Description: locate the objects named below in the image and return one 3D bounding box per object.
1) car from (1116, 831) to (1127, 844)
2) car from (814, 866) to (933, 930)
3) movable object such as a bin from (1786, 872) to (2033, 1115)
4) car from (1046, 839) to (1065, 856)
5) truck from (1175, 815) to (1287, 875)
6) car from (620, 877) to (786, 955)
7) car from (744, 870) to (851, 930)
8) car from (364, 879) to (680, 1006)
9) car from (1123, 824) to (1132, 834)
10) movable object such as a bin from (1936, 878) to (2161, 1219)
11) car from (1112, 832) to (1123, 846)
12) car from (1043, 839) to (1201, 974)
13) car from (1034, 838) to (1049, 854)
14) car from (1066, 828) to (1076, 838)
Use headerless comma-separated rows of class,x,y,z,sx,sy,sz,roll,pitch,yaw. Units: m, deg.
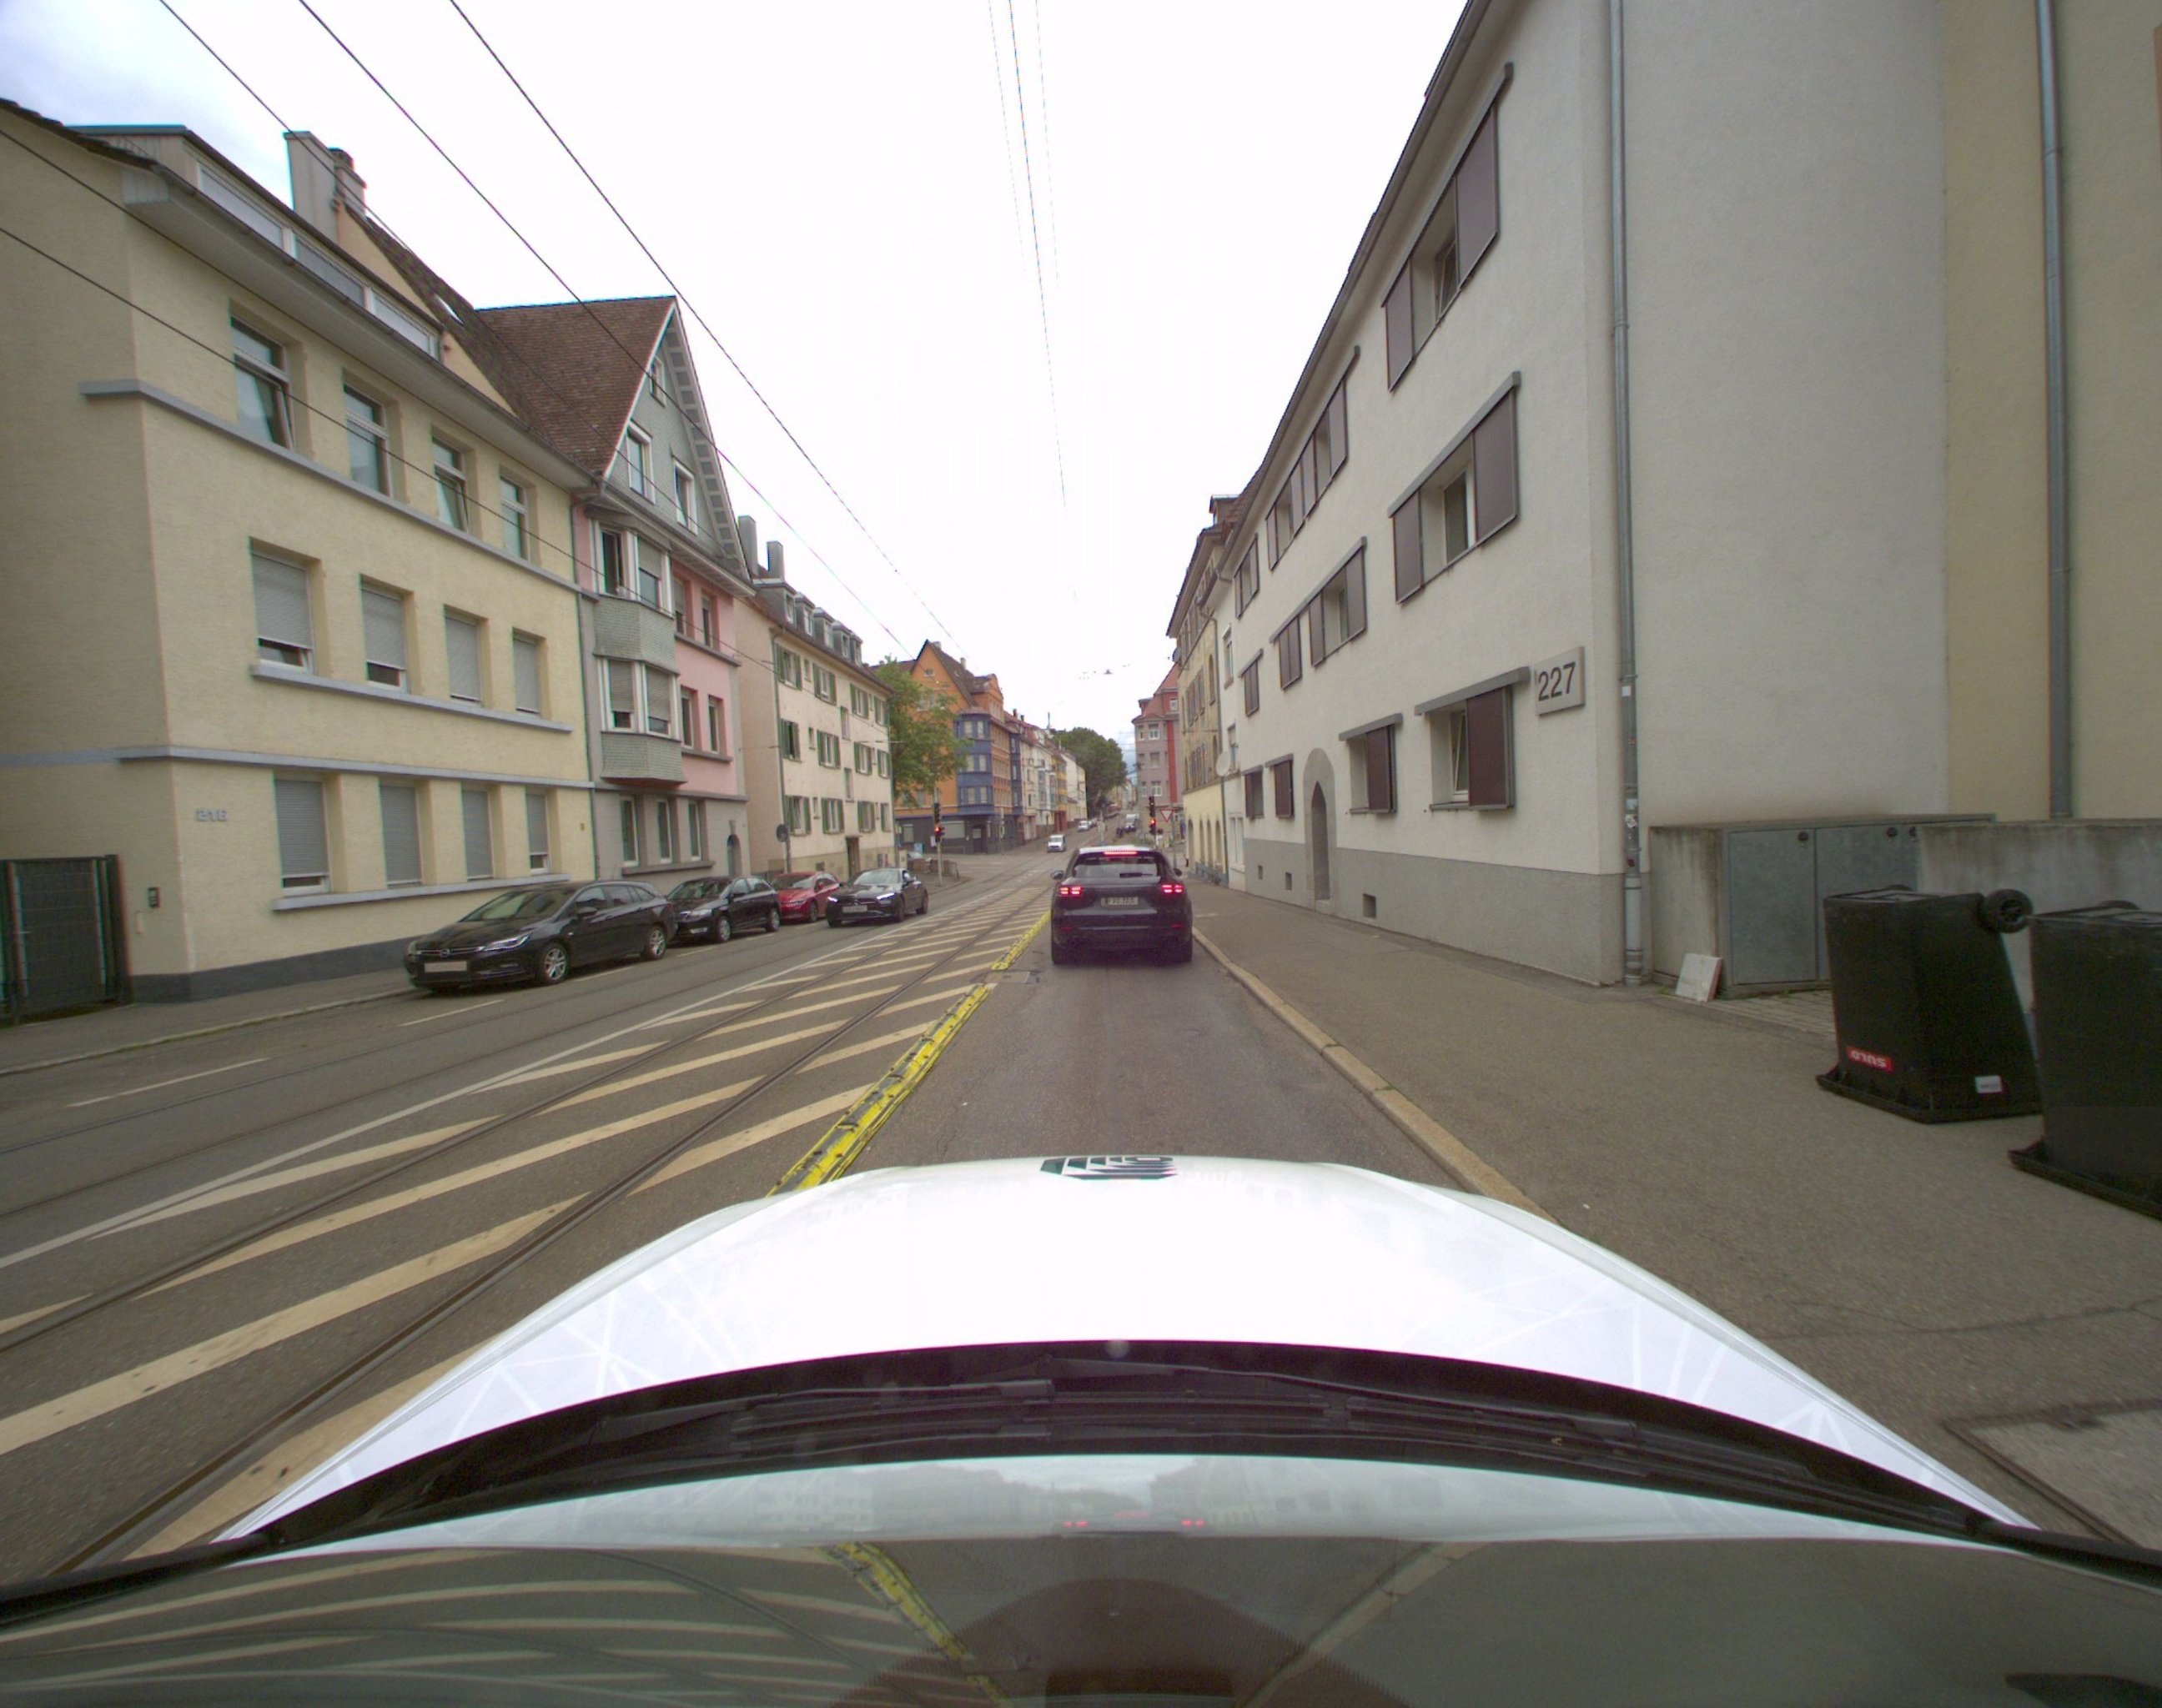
car,5.524,-2.231,110.995,1.389,1.722,3.360,-3,0,2
car,-5.418,1.096,21.886,1.914,1.424,4.498,-3,0,1
movable object such as a bin,4.016,0.644,3.990,0.608,1.080,0.542,-3,-1,3
car,-2.742,-0.703,88.494,1.744,1.760,4.256,-3,0,2
truck,9.311,-0.507,50.746,6.320,3.371,2.362,-3,-1,29
car,-8.371,1.312,18.451,1.729,1.410,4.001,-3,0,2
car,-8.241,1.284,24.049,1.615,1.490,4.047,-3,-1,0
car,-8.348,1.209,12.790,1.614,1.473,4.558,-3,-1,2
car,7.690,-4.154,135.895,1.389,1.450,3.360,-3,0,2
movable object such as a bin,3.843,0.649,3.017,0.586,1.080,0.692,-3,-1,3
car,4.642,-1.907,103.917,1.389,1.722,3.360,-3,0,2
car,0.585,0.694,12.609,1.986,1.676,4.001,-3,0,1
car,-4.680,-0.946,97.678,1.389,1.722,3.360,-3,0,2
car,-1.703,-3.433,133.150,1.389,1.450,3.360,-3,0,2
